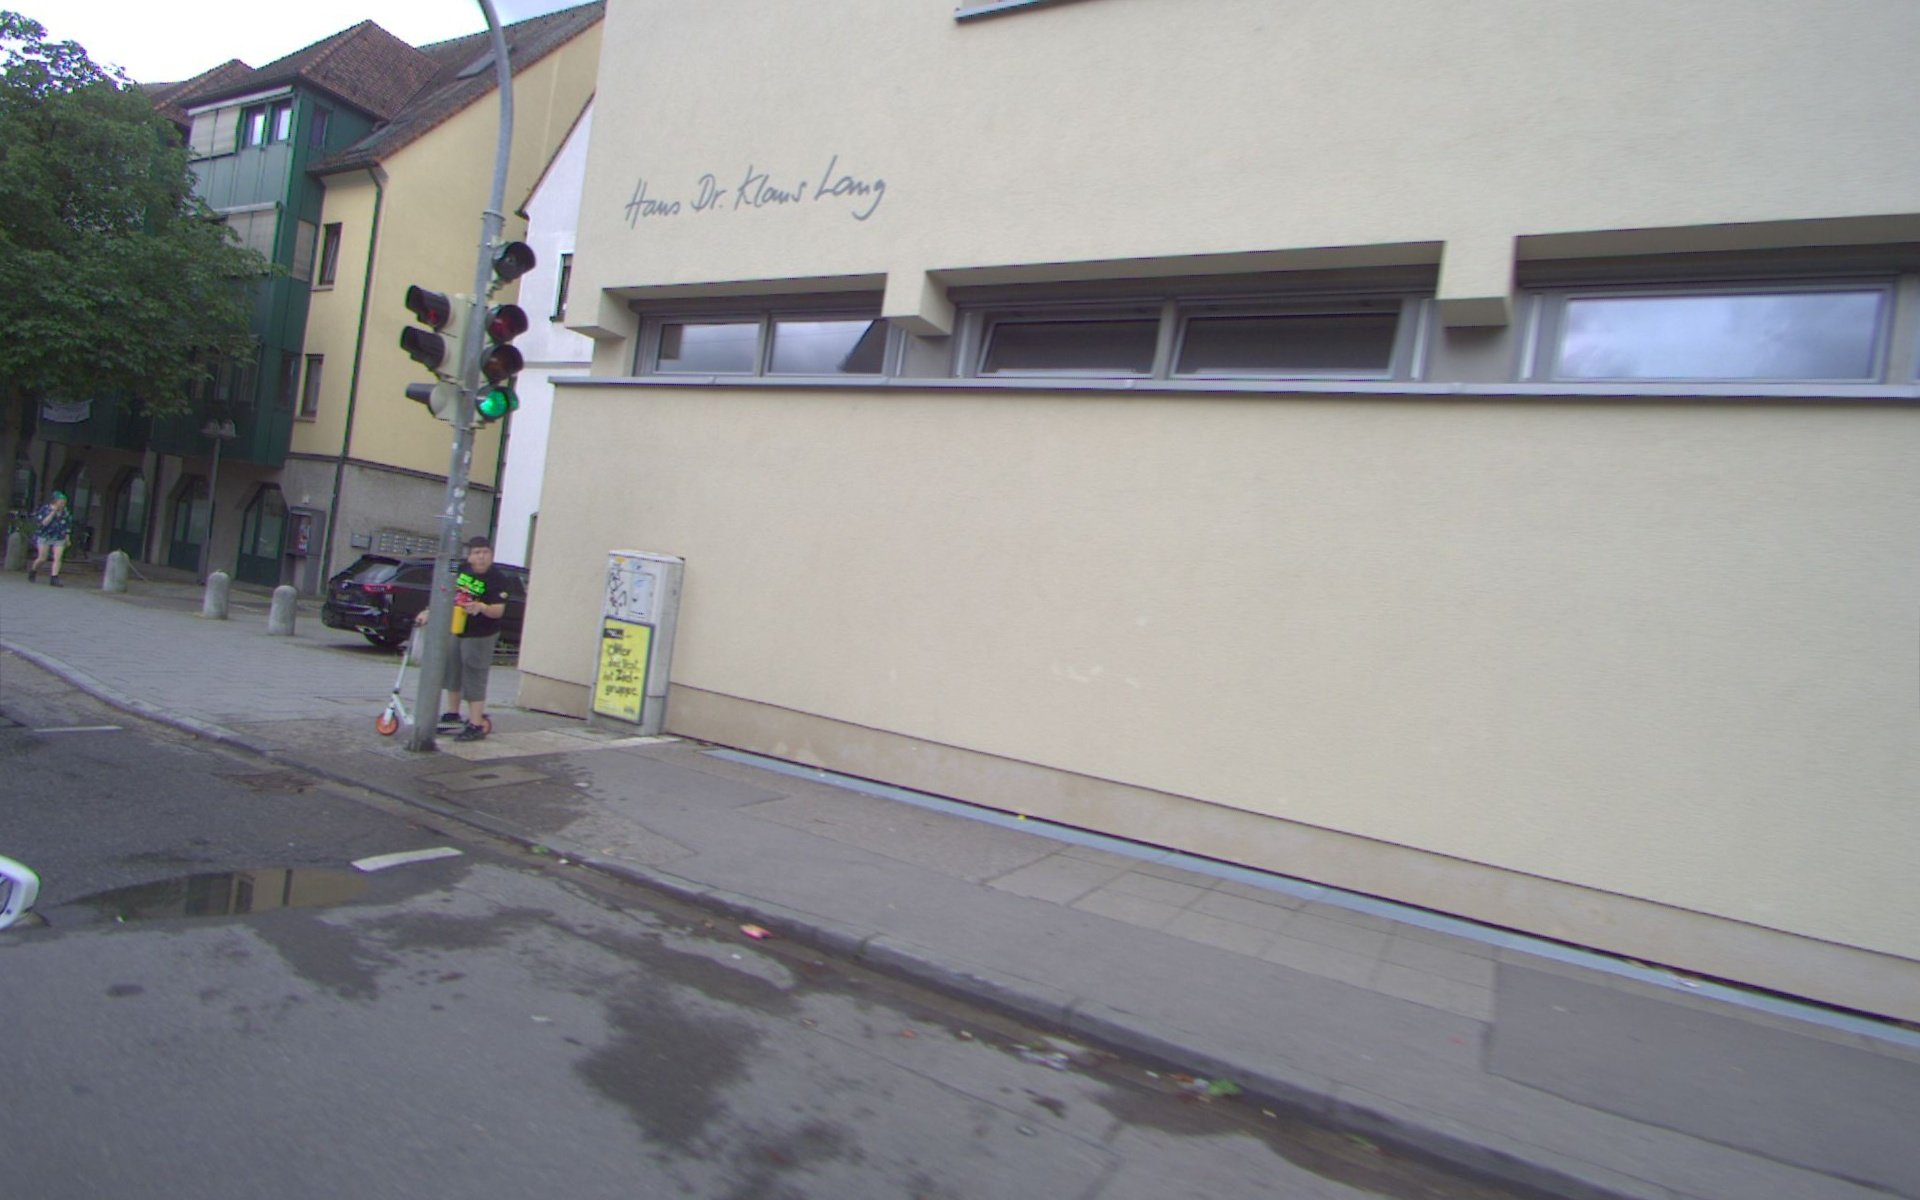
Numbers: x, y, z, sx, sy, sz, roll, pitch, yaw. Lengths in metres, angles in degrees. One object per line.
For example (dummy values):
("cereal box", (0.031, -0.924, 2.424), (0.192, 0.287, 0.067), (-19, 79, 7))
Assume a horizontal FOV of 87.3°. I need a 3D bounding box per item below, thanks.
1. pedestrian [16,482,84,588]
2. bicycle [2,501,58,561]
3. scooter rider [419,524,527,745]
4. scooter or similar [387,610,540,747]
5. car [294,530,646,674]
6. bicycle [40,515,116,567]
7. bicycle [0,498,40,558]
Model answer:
("pedestrian", (-15.970, -1.136, 17.654), (0.847, 1.736, 0.602), (7, 0, 38))
("bicycle", (-22.798, -1.698, 24.657), (1.926, 1.315, 0.333), (7, -1, 30))
("scooter rider", (-3.841, 0.265, 7.947), (0.495, 1.653, 0.453), (5, 2, 17))
("scooter or similar", (-3.916, 0.598, 7.958), (0.804, 0.958, 0.663), (5, 1, 20))
("car", (-7.489, 0.120, 15.823), (1.825, 1.591, 4.514), (6, -3, 37))
("bicycle", (-22.261, -1.495, 25.387), (2.251, 1.082, 0.546), (7, 0, 26))
("bicycle", (-22.834, -1.754, 24.209), (1.926, 1.315, 0.333), (7, -1, 30))
